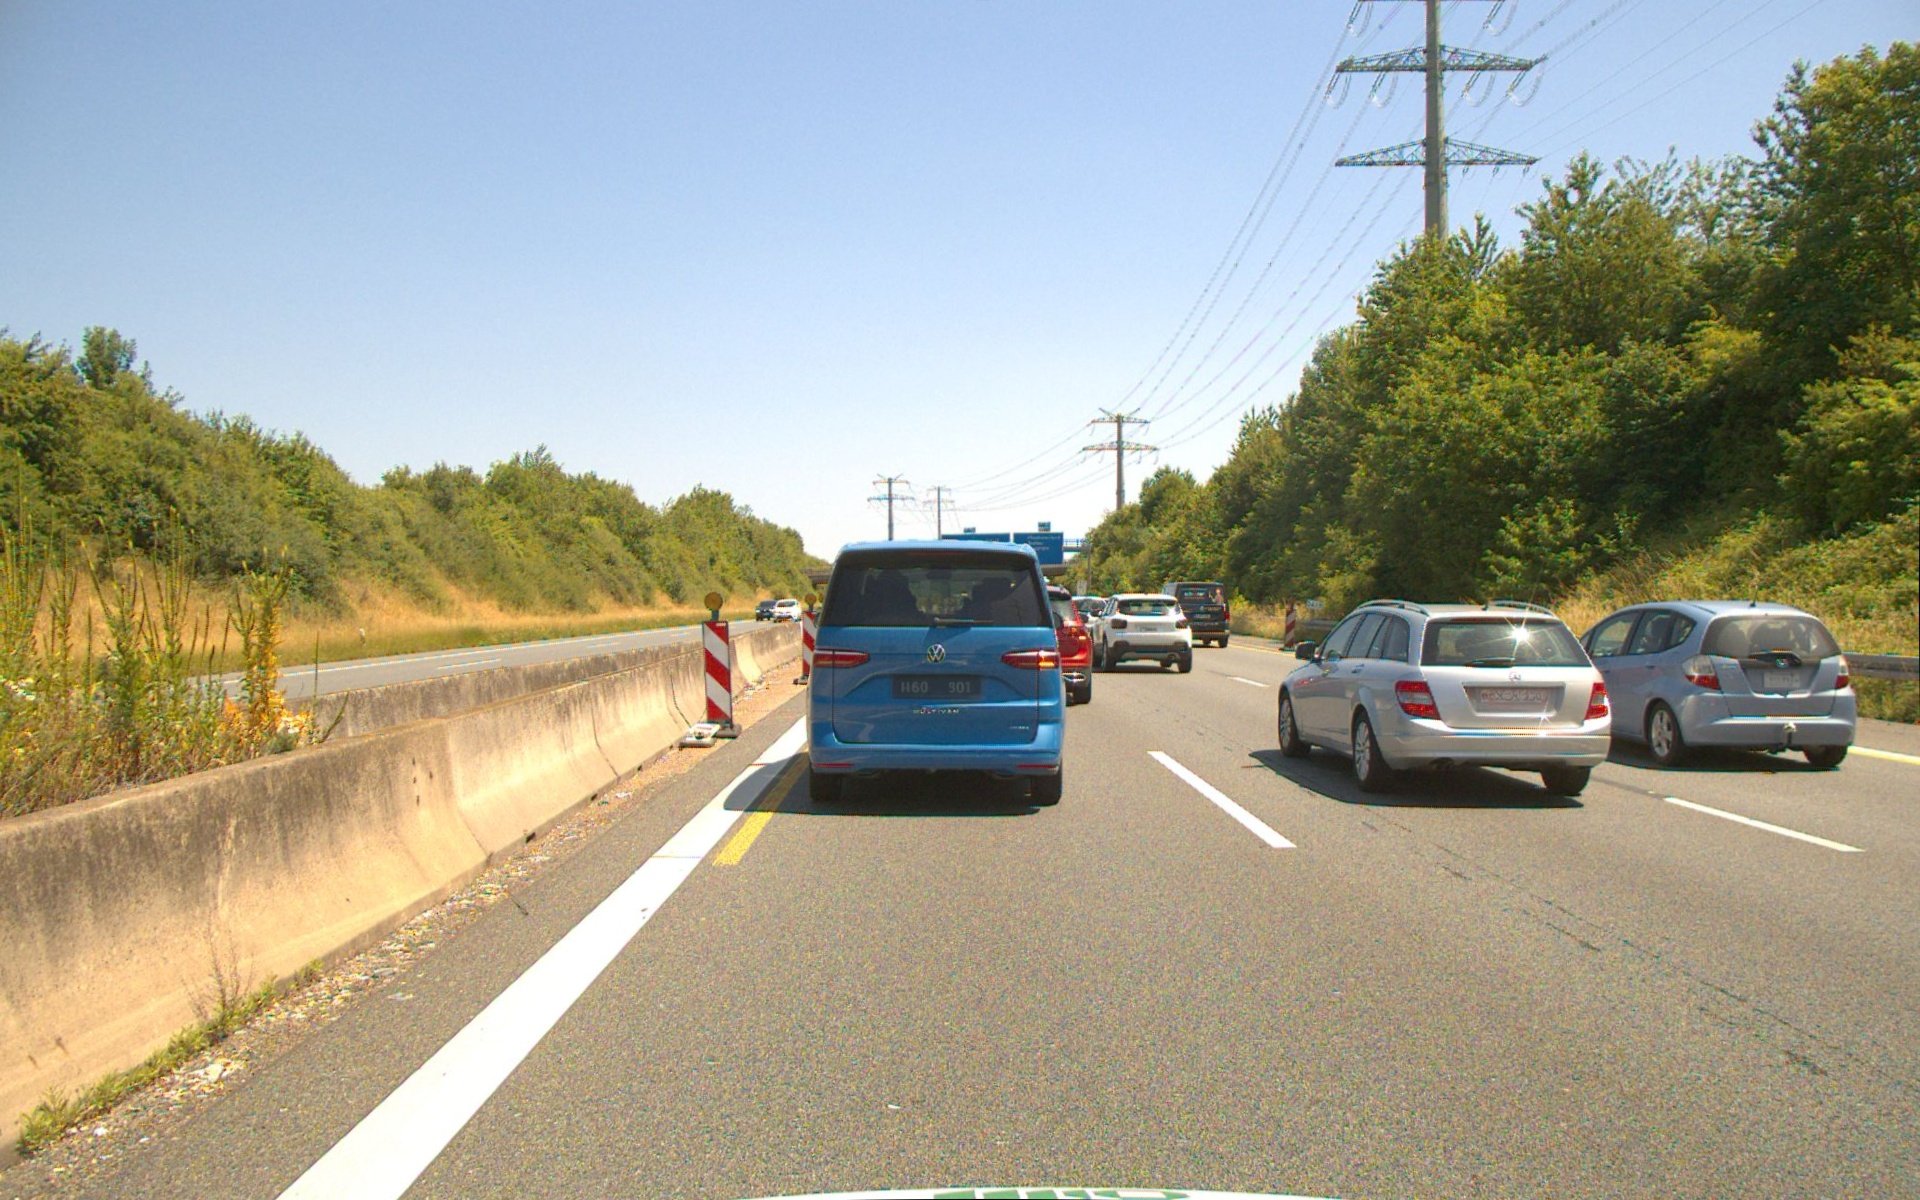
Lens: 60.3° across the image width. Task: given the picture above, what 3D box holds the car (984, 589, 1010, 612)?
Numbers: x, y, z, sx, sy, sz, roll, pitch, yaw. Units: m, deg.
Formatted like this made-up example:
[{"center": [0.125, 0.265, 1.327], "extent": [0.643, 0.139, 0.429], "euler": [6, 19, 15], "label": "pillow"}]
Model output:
[{"center": [2.665, 0.031, 119.831], "extent": [1.761, 1.622, 4.226], "euler": [1, 0, -1], "label": "car"}]

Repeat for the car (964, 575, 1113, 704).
[{"center": [1.051, 0.531, 24.280], "extent": [1.837, 1.700, 4.358], "euler": [1, 0, -2], "label": "car"}]

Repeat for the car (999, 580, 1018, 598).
[{"center": [6.767, -1.497, 231.545], "extent": [2.329, 2.470, 4.226], "euler": [1, 0, -1], "label": "car"}]

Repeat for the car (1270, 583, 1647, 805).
[{"center": [3.946, 0.670, 13.891], "extent": [1.735, 1.544, 4.358], "euler": [1, 0, -2], "label": "car"}]

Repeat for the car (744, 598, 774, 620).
[{"center": [-16.915, 0.750, 139.625], "extent": [1.953, 1.678, 4.629], "euler": [-3, 0, -1], "label": "car"}]

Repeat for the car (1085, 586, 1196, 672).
[{"center": [3.662, 0.566, 34.156], "extent": [1.761, 1.622, 4.226], "euler": [1, 0, -1], "label": "car"}]

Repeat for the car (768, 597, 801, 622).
[{"center": [-12.633, 0.691, 118.993], "extent": [1.953, 1.691, 4.229], "euler": [-1, 0, -1], "label": "car"}]

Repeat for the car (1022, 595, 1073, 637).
[{"center": [3.554, 0.631, 67.845], "extent": [1.761, 1.622, 4.226], "euler": [1, 0, -1], "label": "car"}]

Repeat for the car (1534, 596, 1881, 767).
[{"center": [7.198, 0.716, 16.350], "extent": [1.666, 1.473, 3.787], "euler": [1, 0, -1], "label": "car"}]

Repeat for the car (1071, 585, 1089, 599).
[{"center": [15.037, -1.023, 207.710], "extent": [1.837, 1.700, 4.358], "euler": [1, 0, -2], "label": "car"}]

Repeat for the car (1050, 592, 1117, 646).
[{"center": [3.906, 0.585, 52.985], "extent": [1.761, 1.622, 4.226], "euler": [1, 0, -1], "label": "car"}]

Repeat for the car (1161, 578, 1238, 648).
[{"center": [7.360, 0.402, 51.195], "extent": [1.761, 2.049, 4.226], "euler": [1, 0, 0], "label": "car"}]

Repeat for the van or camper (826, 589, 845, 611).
[{"center": [-16.693, 0.044, 222.428], "extent": [2.178, 2.758, 7.078], "euler": [-3, 0, -2], "label": "van or camper"}]

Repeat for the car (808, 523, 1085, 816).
[{"center": [-0.149, 0.474, 13.353], "extent": [1.837, 1.945, 4.358], "euler": [1, 0, -2], "label": "car"}]
